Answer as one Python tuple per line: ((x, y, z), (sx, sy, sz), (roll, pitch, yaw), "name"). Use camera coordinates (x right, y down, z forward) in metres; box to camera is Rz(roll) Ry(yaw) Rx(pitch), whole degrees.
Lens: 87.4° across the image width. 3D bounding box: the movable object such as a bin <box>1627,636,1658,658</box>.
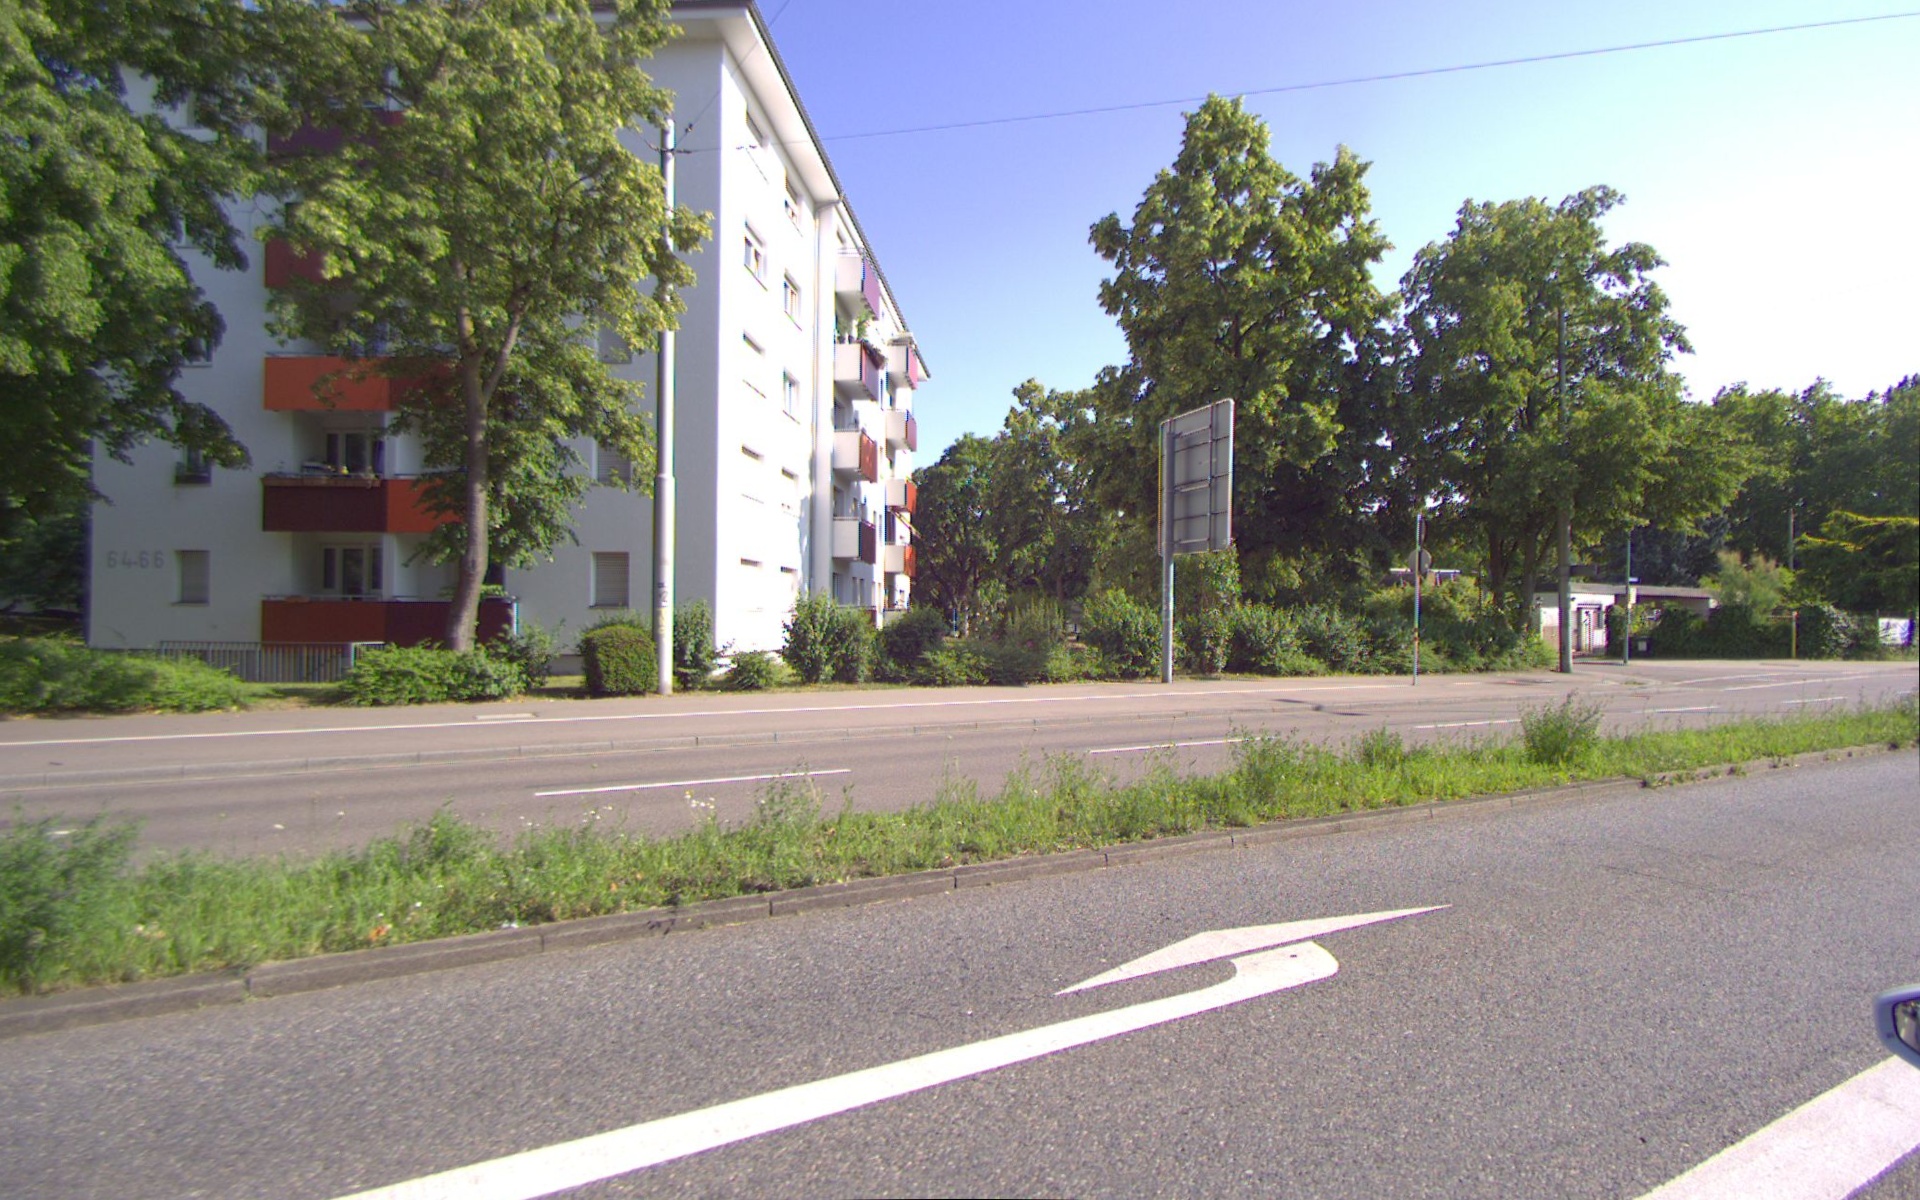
((29.756, 2.040, 43.791), (0.842, 0.943, 0.813), (1, -1, -29), "movable object such as a bin")
